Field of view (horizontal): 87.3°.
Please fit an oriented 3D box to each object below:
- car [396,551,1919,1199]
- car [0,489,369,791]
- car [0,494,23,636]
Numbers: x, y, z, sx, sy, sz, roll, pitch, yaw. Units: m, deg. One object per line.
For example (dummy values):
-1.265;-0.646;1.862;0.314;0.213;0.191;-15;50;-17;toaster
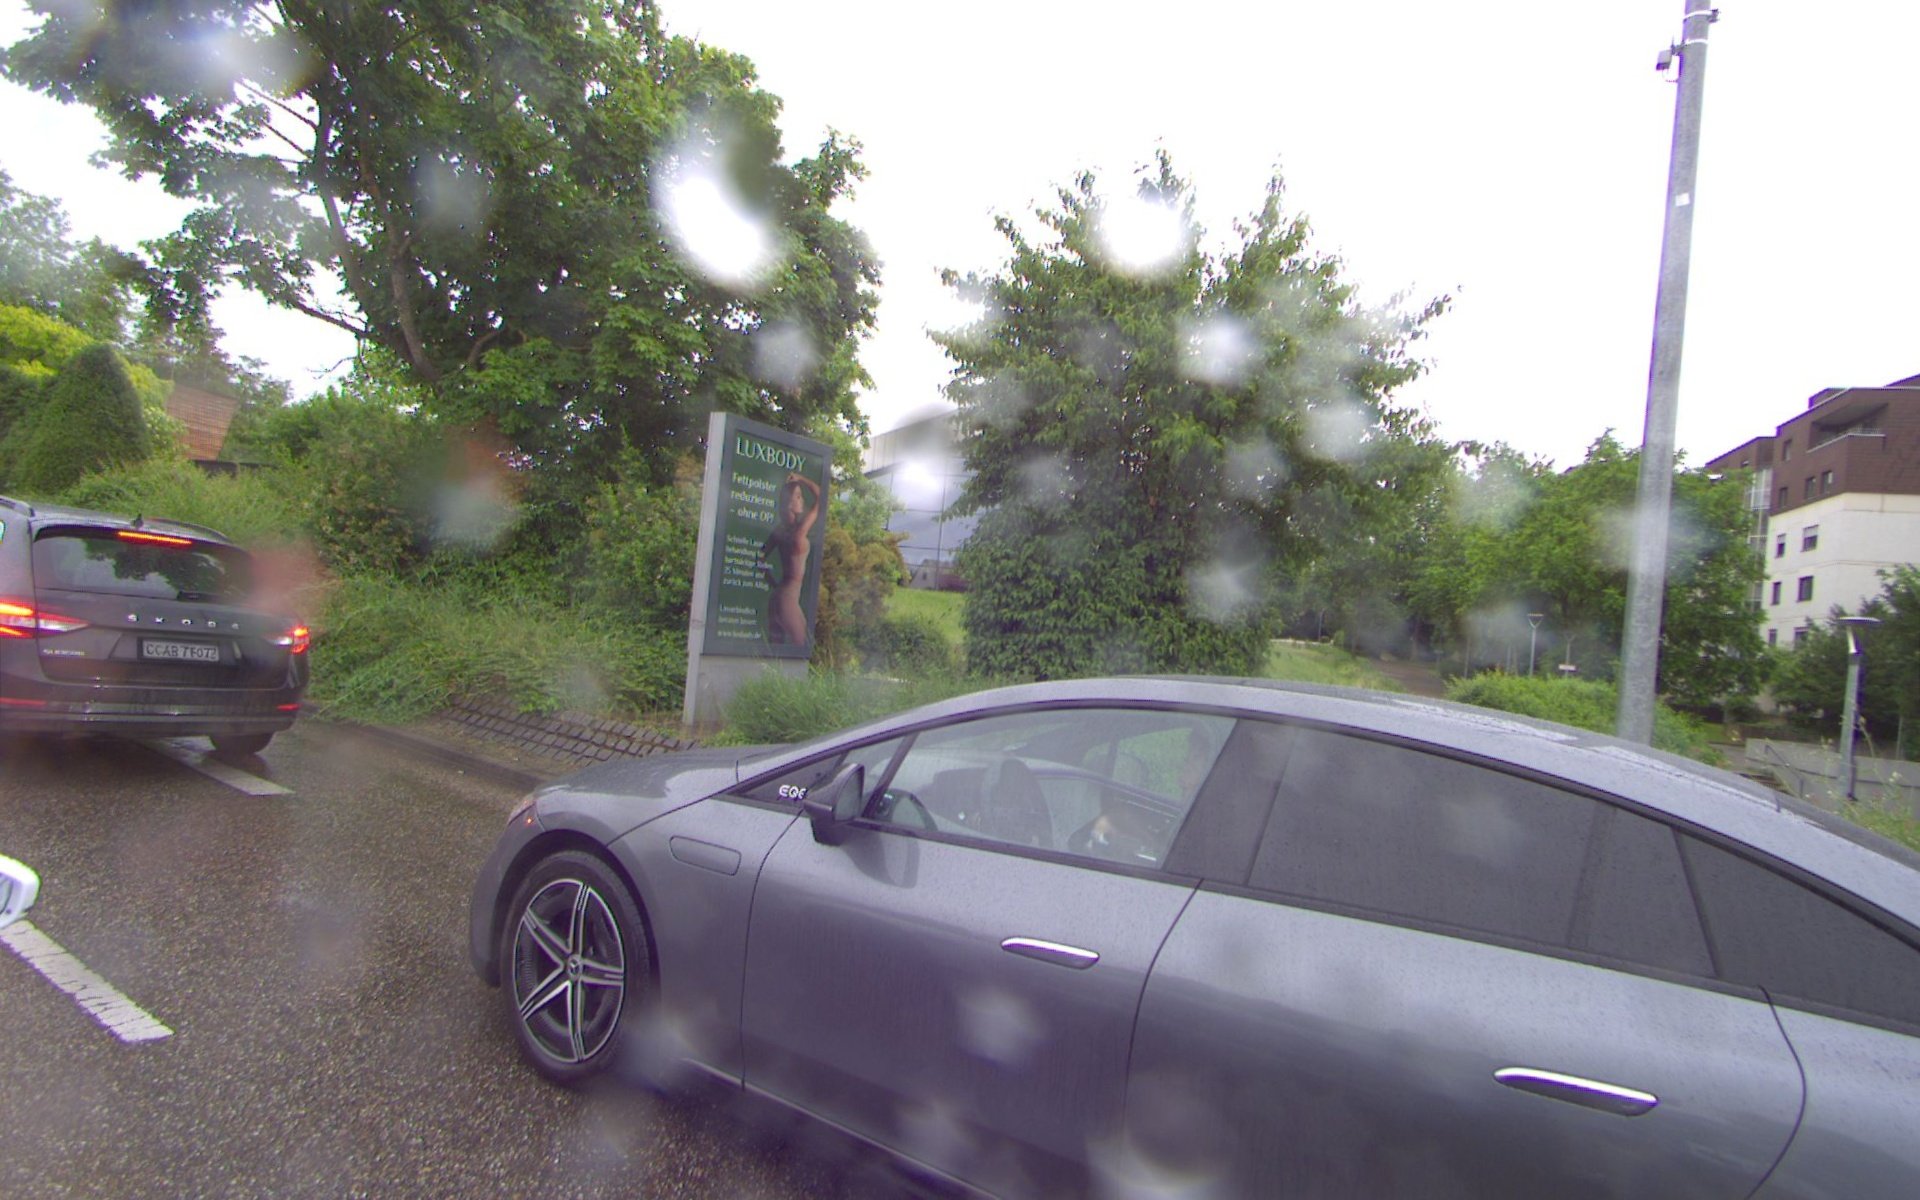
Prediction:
0.687;0.923;2.920;4.728;1.483;1.842;7;-2;31;car
-6.100;0.071;6.761;4.279;1.483;1.841;7;-2;33;car
-12.183;-0.667;10.881;4.048;1.483;1.842;7;-2;31;car
